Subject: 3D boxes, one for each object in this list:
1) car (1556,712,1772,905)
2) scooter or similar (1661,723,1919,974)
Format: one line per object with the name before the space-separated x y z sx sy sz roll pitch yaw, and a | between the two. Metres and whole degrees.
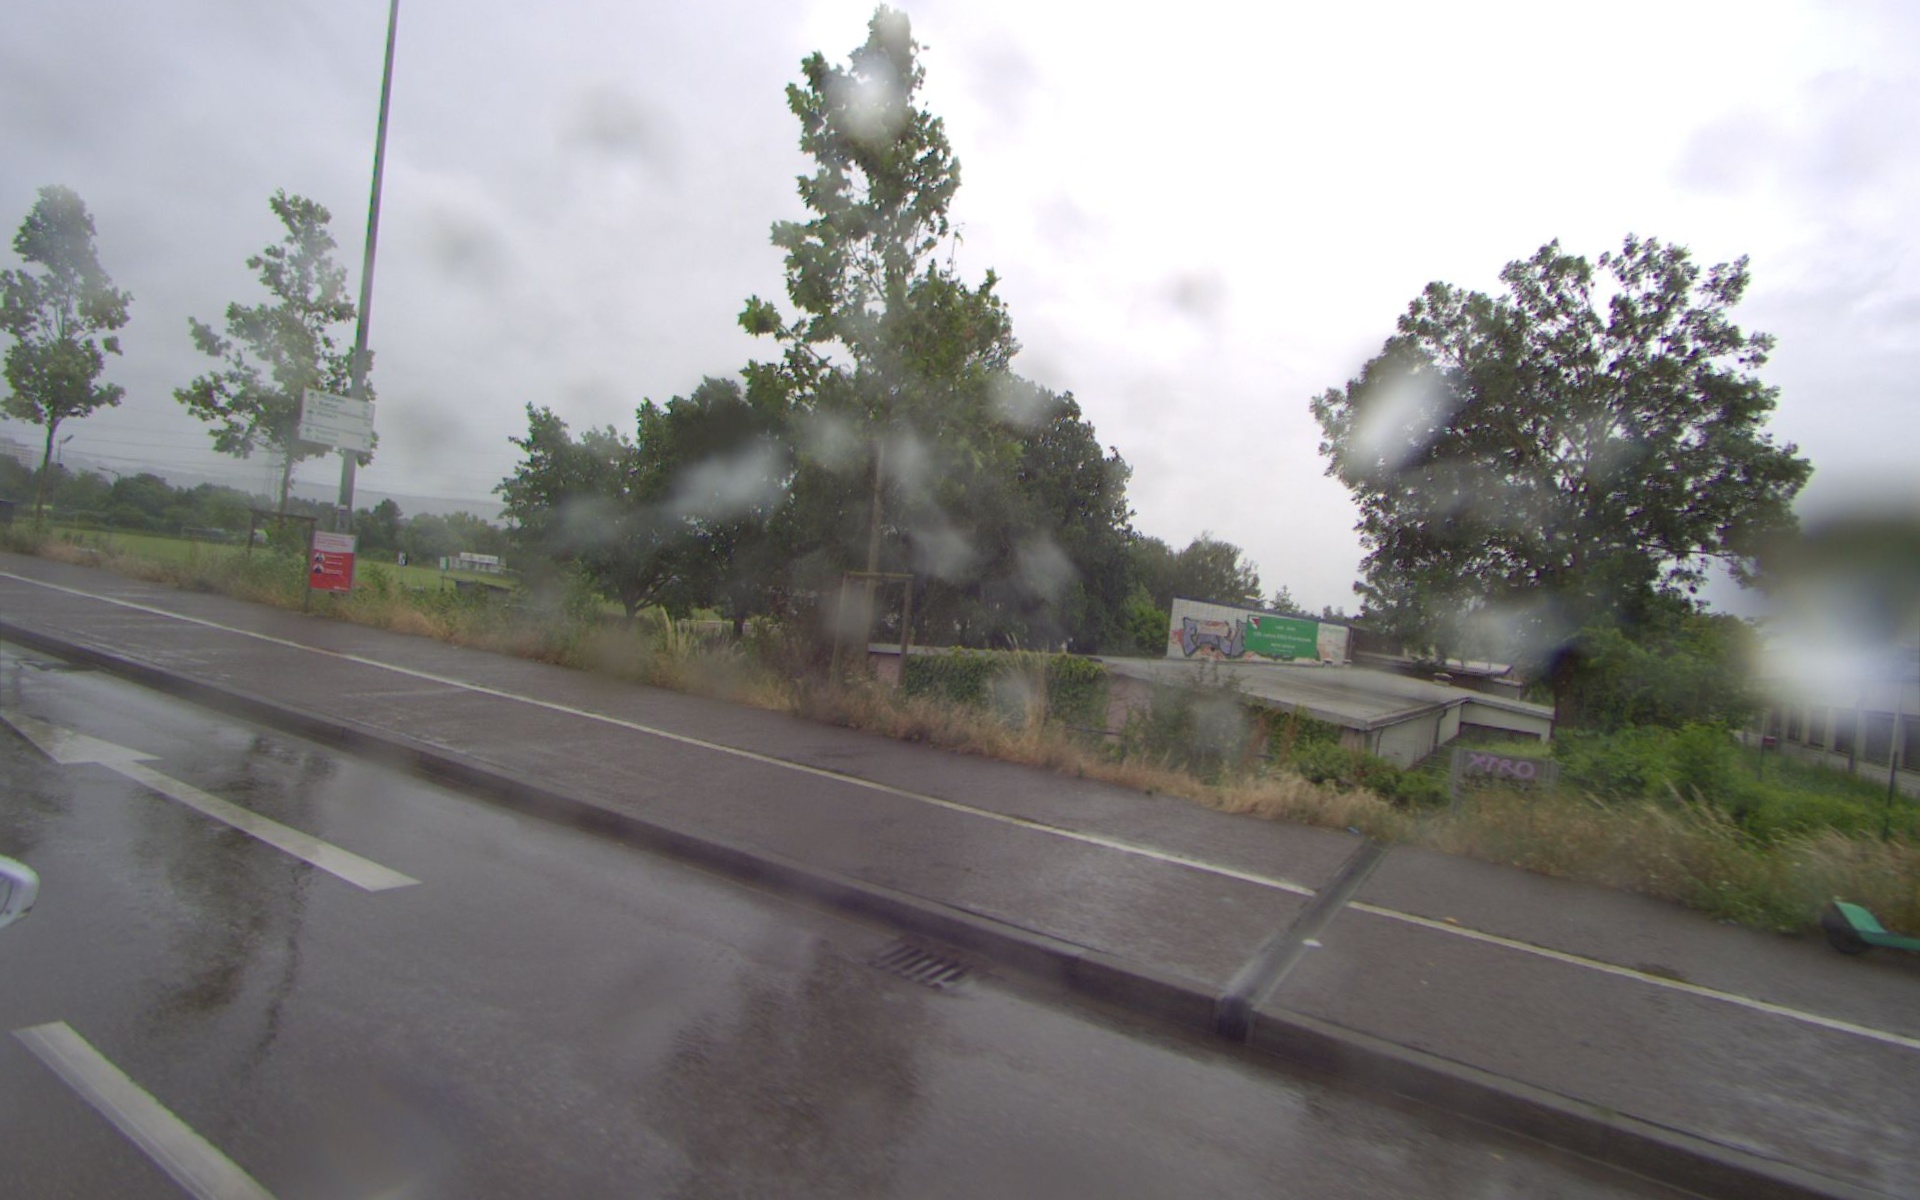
car | 6.610 1.832 9.500 1.324 1.303 3.239 6 -2 36
scooter or similar | 5.289 1.464 5.844 1.882 1.213 0.366 6 -1 34
